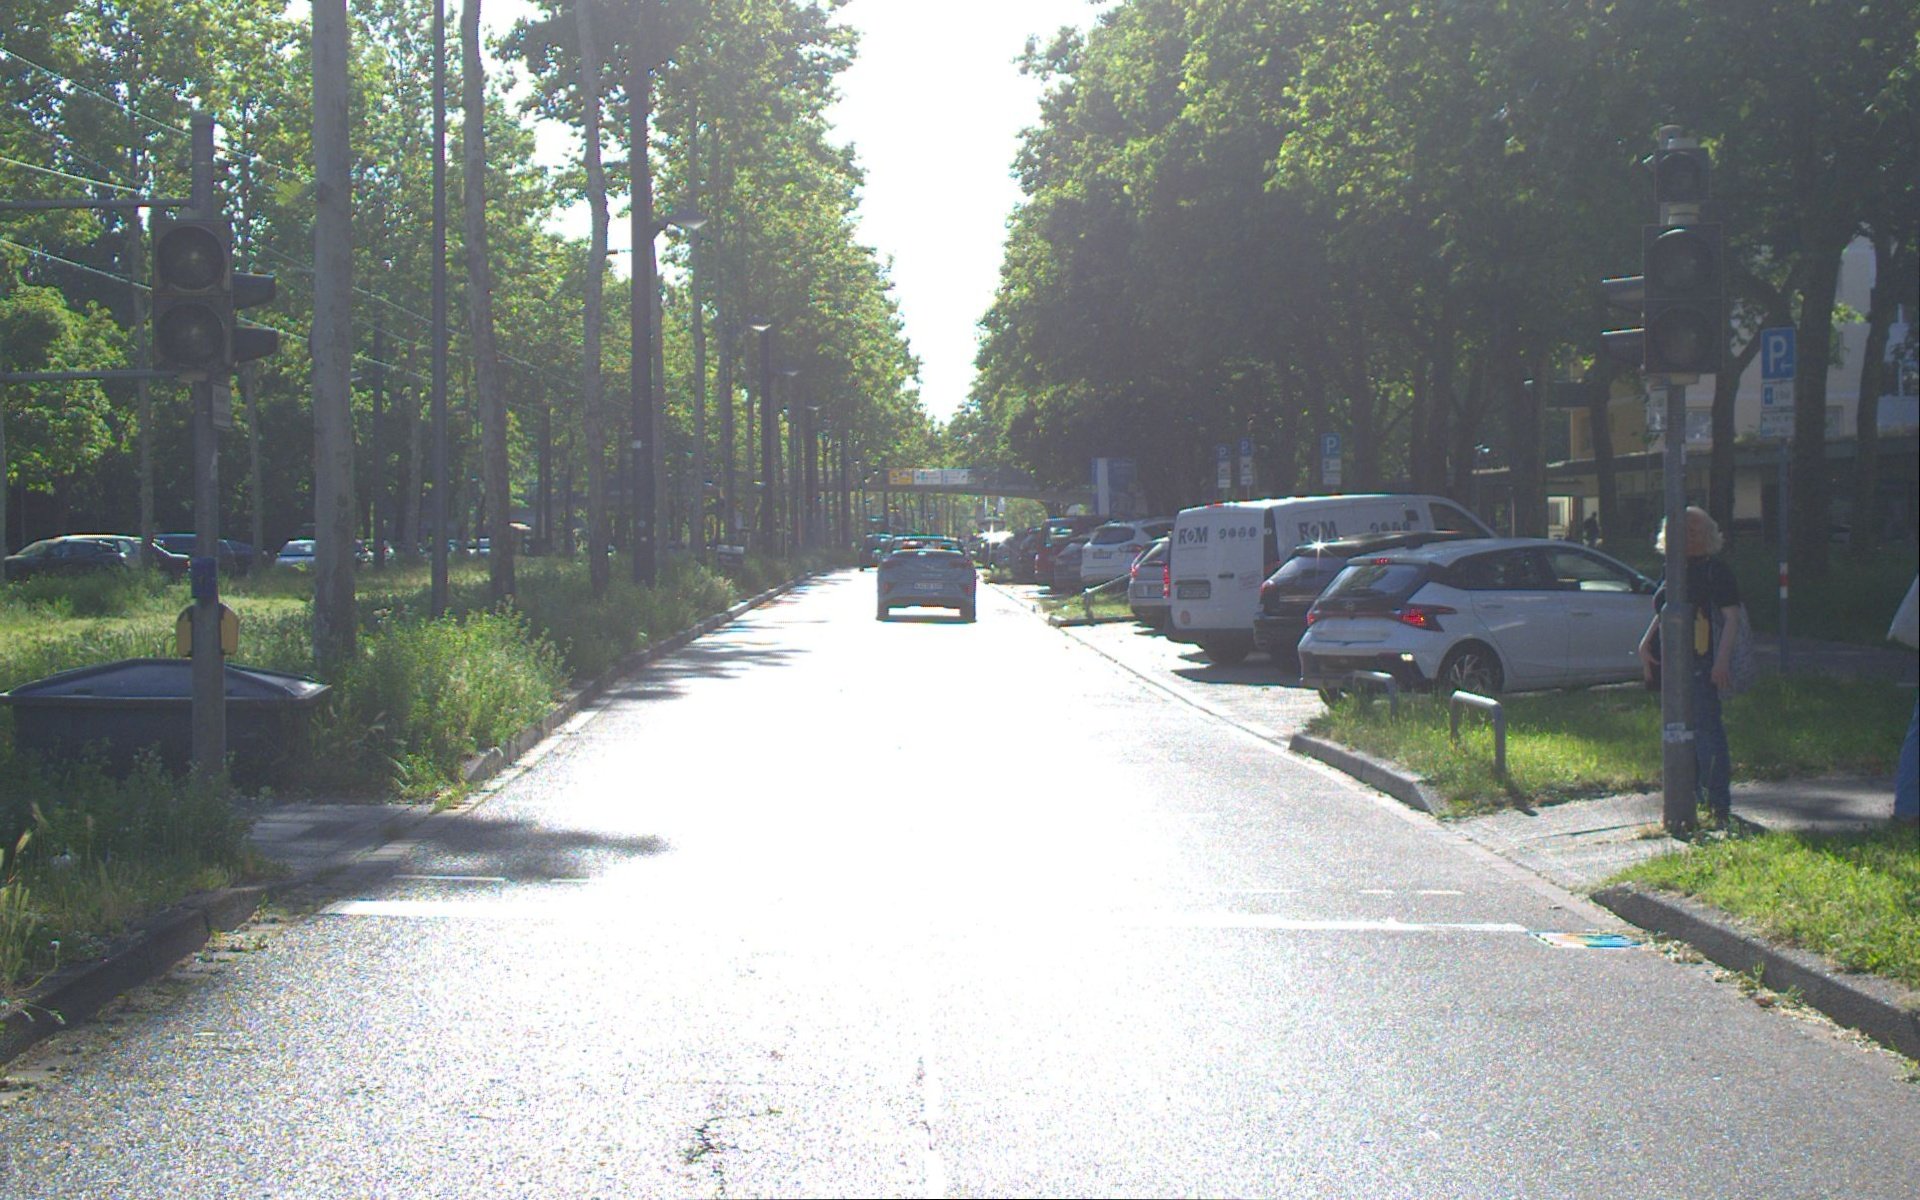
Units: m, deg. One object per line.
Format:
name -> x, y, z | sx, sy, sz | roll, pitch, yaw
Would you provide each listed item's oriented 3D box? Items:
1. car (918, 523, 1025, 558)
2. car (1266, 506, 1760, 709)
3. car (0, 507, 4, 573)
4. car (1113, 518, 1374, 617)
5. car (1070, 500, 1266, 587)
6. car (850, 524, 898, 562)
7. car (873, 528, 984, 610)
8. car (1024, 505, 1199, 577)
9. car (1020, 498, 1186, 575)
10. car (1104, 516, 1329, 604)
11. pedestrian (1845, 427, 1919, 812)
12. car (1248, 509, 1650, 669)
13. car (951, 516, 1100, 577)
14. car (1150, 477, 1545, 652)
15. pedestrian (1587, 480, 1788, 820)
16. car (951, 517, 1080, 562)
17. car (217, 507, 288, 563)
car -> 0.510, -2.584, 148.991 | 1.978, 1.454, 4.613 | 0, 1, 43
car -> 4.798, 0.028, 29.674 | 3.986, 1.464, 1.761 | -4, 2, -32
car -> -25.504, -1.457, 83.658 | 4.071, 1.601, 1.996 | -1, 3, -24
car -> 4.467, -0.517, 53.772 | 4.174, 1.407, 1.719 | -3, 2, -44
car -> 4.402, -1.205, 72.396 | 4.017, 1.699, 1.760 | -3, 2, -42
car -> -3.486, -2.334, 139.996 | 1.849, 1.530, 3.867 | 0, 1, 0
car -> -0.599, -0.590, 62.260 | 1.922, 1.406, 4.001 | 0, 2, -1
car -> 3.345, -1.308, 75.540 | 3.777, 1.465, 1.650 | -3, 2, -44
car -> 3.590, -1.603, 86.154 | 4.073, 1.804, 1.650 | -3, 2, -40
car -> 4.391, -0.693, 58.487 | 3.928, 1.368, 1.587 | -3, 2, -44
pedestrian -> 4.482, 0.075, 15.694 | 0.842, 1.716, 0.829 | 0, 1, 14
car -> 5.172, -0.137, 36.164 | 3.986, 1.424, 1.799 | -4, 2, -35
car -> 1.931, -1.569, 100.334 | 4.308, 1.711, 1.635 | -2, 2, -40
car -> 4.547, -0.440, 39.891 | 4.658, 1.846, 1.830 | -3, 2, -41
pedestrian -> 3.761, 0.247, 17.786 | 0.710, 1.700, 0.654 | -3, 1, -35
car -> 1.970, -2.134, 120.920 | 4.482, 1.438, 1.855 | -3, 2, -44
car -> -27.868, -2.566, 135.492 | 1.645, 2.086, 4.915 | 2, 1, 1
